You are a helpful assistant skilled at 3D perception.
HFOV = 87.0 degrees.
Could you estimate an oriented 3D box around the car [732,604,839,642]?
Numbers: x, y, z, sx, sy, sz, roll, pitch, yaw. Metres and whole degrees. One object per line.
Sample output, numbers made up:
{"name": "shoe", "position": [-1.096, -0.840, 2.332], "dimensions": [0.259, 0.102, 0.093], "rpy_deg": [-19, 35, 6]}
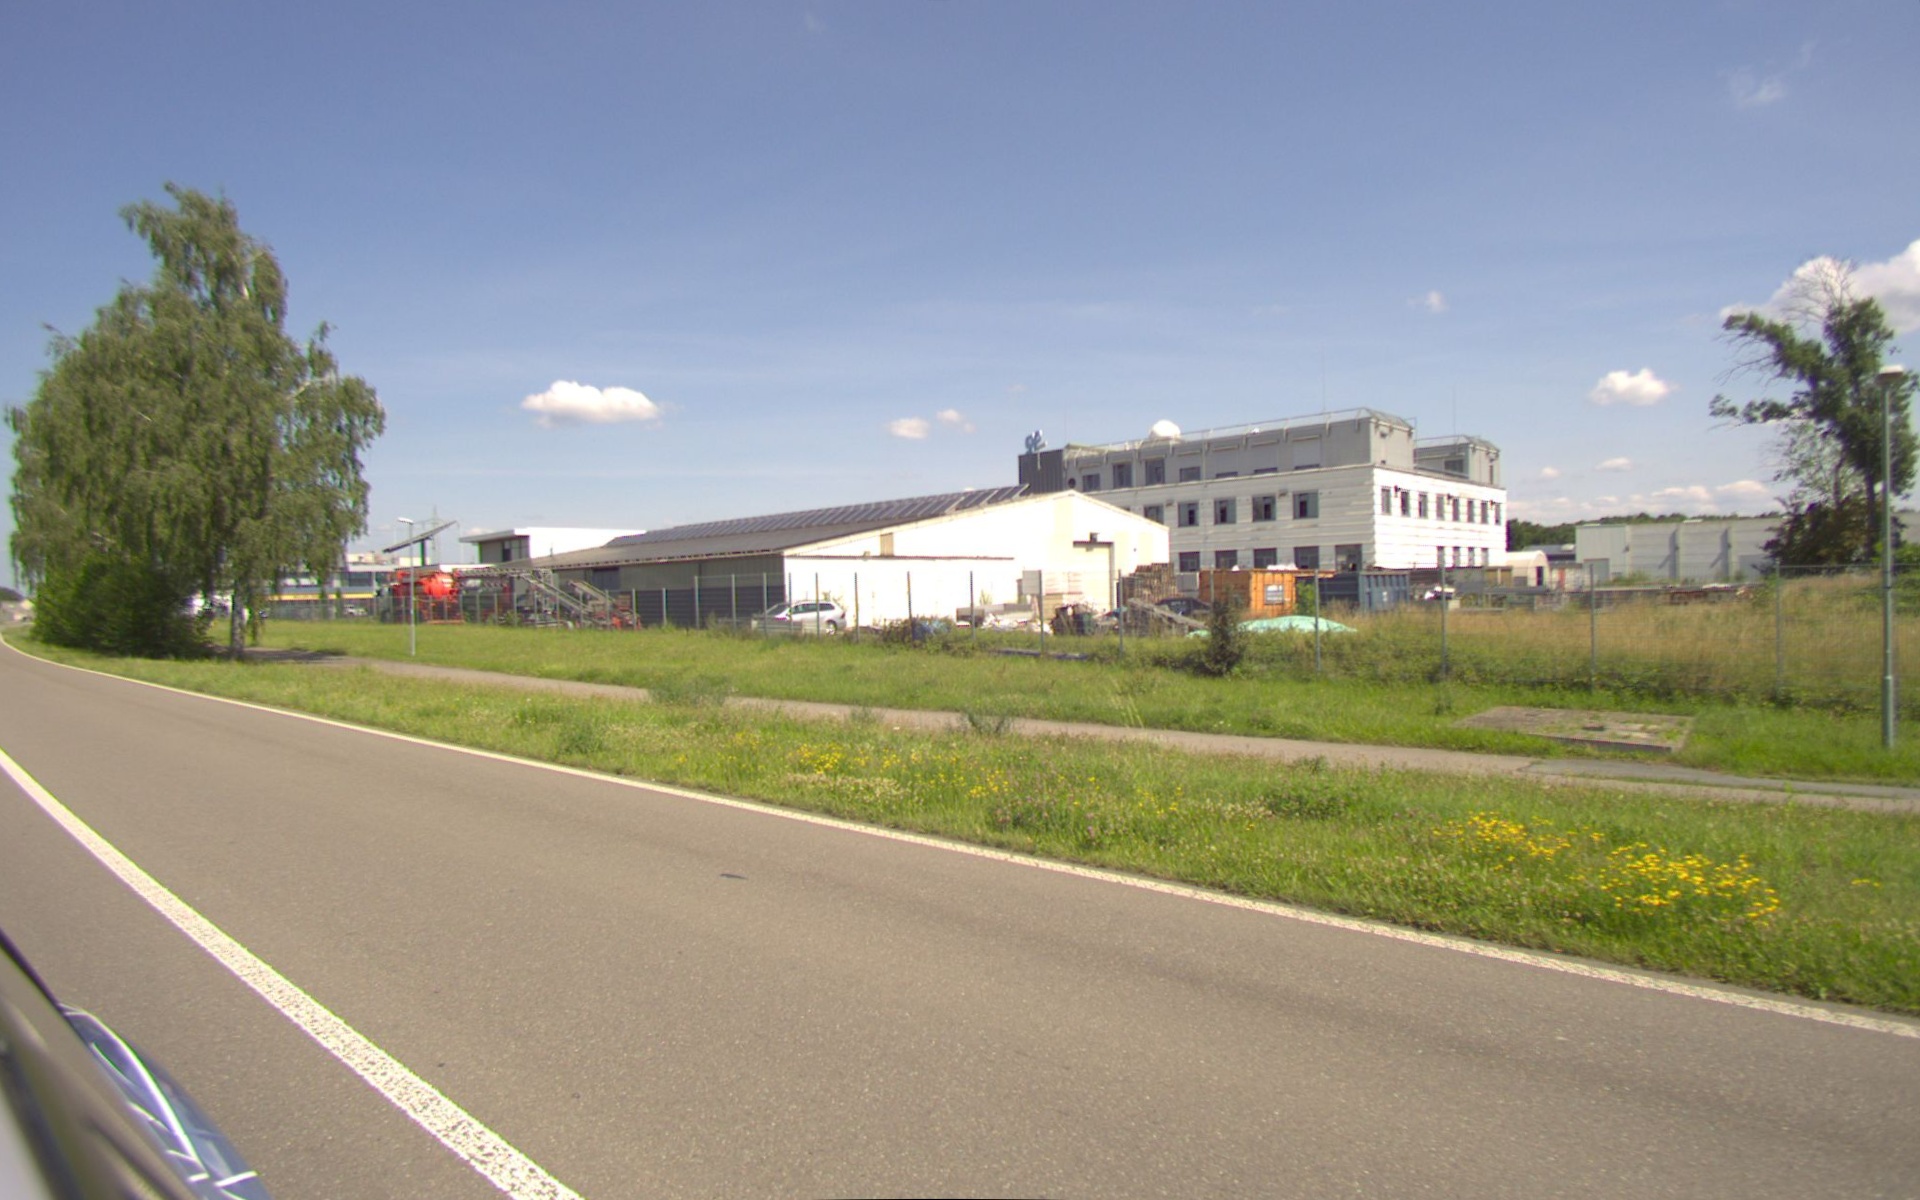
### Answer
{"name": "car", "position": [-6.997, 0.913, 40.871], "dimensions": [3.941, 1.353, 1.748], "rpy_deg": [-2, 0, -45]}

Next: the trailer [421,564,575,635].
{"name": "trailer", "position": [-27.039, 0.027, 58.509], "dimensions": [3.252, 3.672, 14.934], "rpy_deg": [0, -1, -44]}

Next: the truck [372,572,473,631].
{"name": "truck", "position": [-36.017, 0.140, 67.563], "dimensions": [3.065, 3.672, 10.600], "rpy_deg": [0, -1, -44]}

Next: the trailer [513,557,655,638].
{"name": "trailer", "position": [-18.764, -0.077, 50.124], "dimensions": [3.360, 3.672, 8.664], "rpy_deg": [0, -1, -45]}

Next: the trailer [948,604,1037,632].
{"name": "trailer", "position": [1.503, 0.785, 45.951], "dimensions": [1.905, 1.175, 3.942], "rpy_deg": [-1, 0, 44]}
